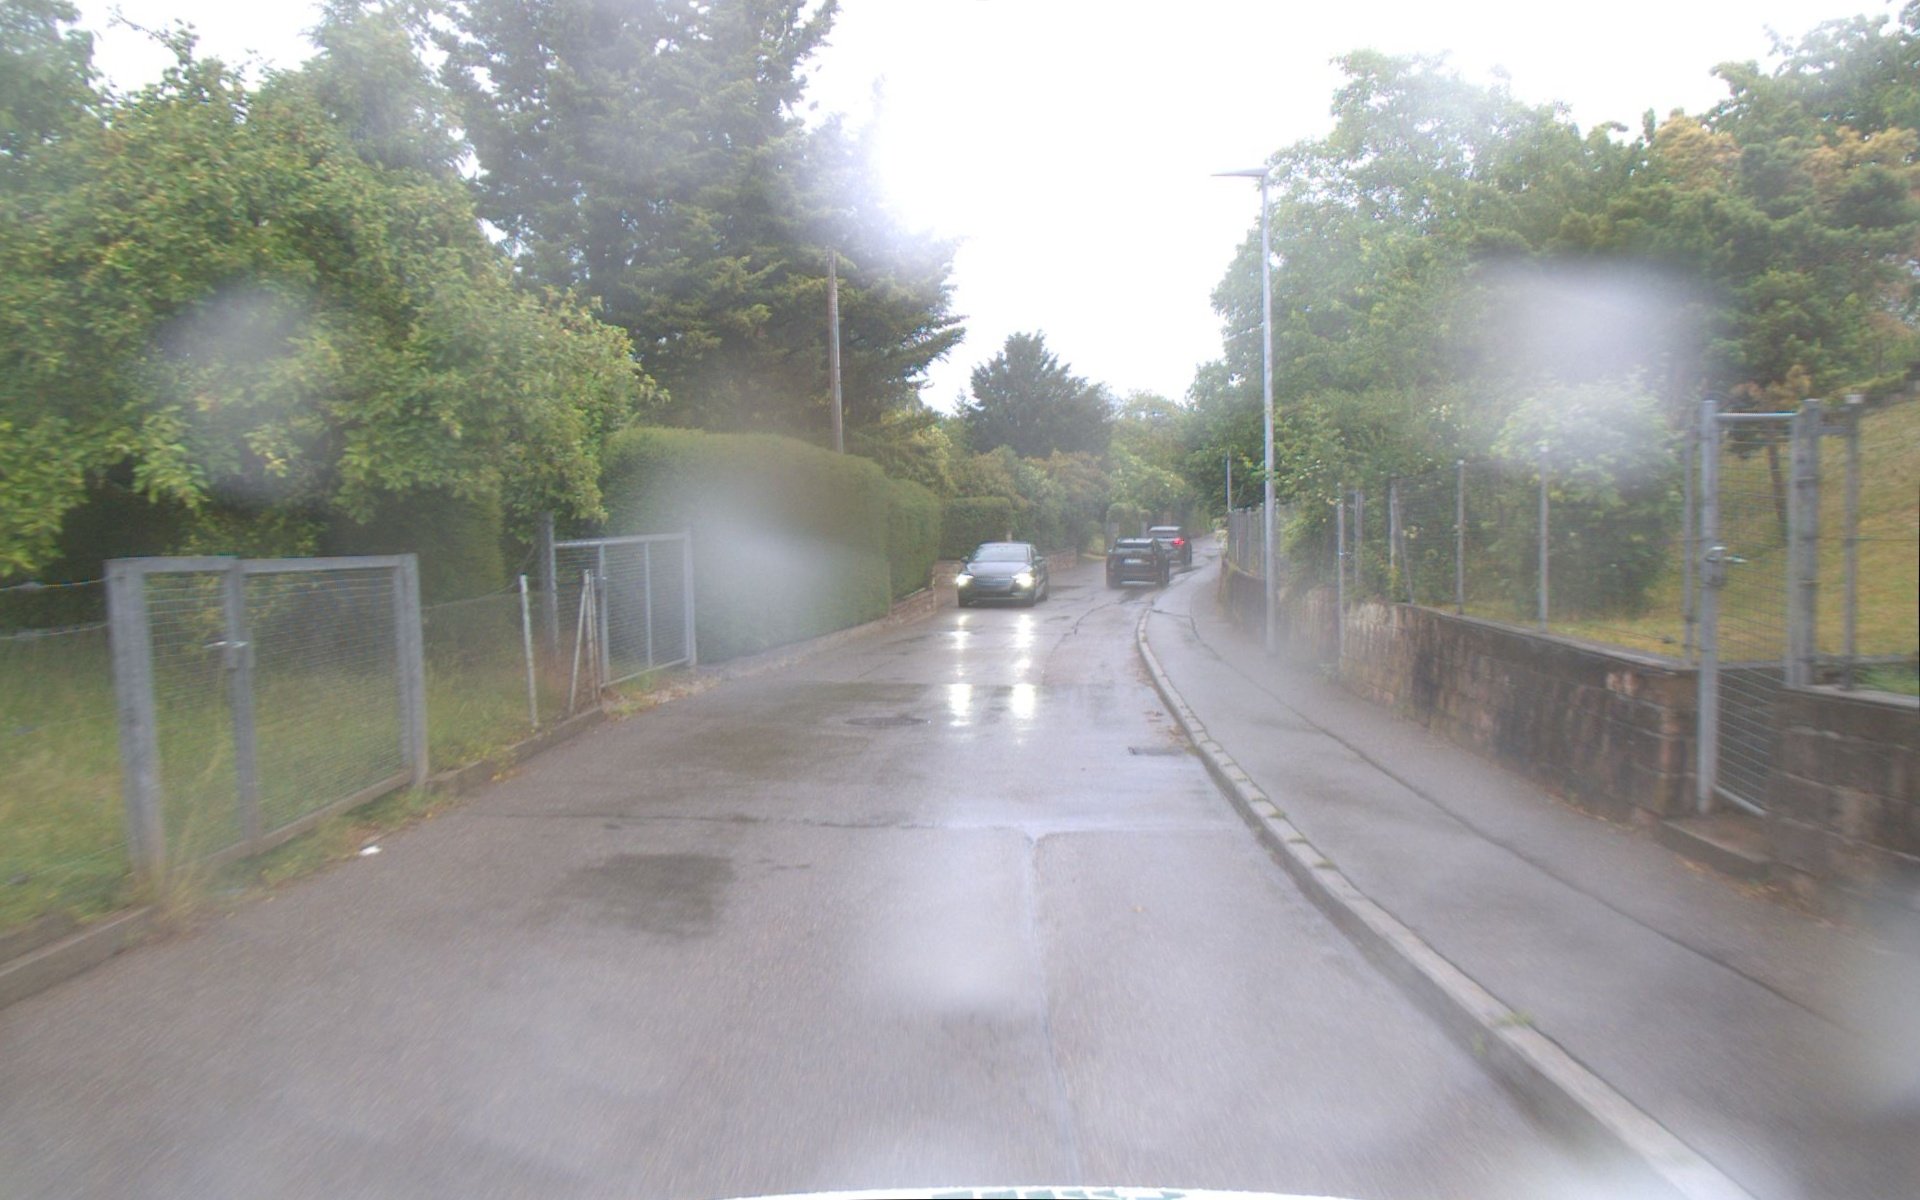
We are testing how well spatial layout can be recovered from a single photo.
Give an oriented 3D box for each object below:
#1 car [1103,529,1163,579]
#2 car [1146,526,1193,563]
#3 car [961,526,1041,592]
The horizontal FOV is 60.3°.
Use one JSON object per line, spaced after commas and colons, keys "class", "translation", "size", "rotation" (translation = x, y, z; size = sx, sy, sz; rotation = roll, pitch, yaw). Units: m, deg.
{"class": "car", "translation": [5.328, -1.434, 50.692], "size": [1.600, 1.475, 3.548], "rotation": [1, 2, 9]}
{"class": "car", "translation": [8.535, -2.271, 67.249], "size": [1.600, 1.438, 3.548], "rotation": [1, 2, 11]}
{"class": "car", "translation": [1.078, -1.074, 41.397], "size": [1.849, 1.549, 4.425], "rotation": [1, 3, 3]}
